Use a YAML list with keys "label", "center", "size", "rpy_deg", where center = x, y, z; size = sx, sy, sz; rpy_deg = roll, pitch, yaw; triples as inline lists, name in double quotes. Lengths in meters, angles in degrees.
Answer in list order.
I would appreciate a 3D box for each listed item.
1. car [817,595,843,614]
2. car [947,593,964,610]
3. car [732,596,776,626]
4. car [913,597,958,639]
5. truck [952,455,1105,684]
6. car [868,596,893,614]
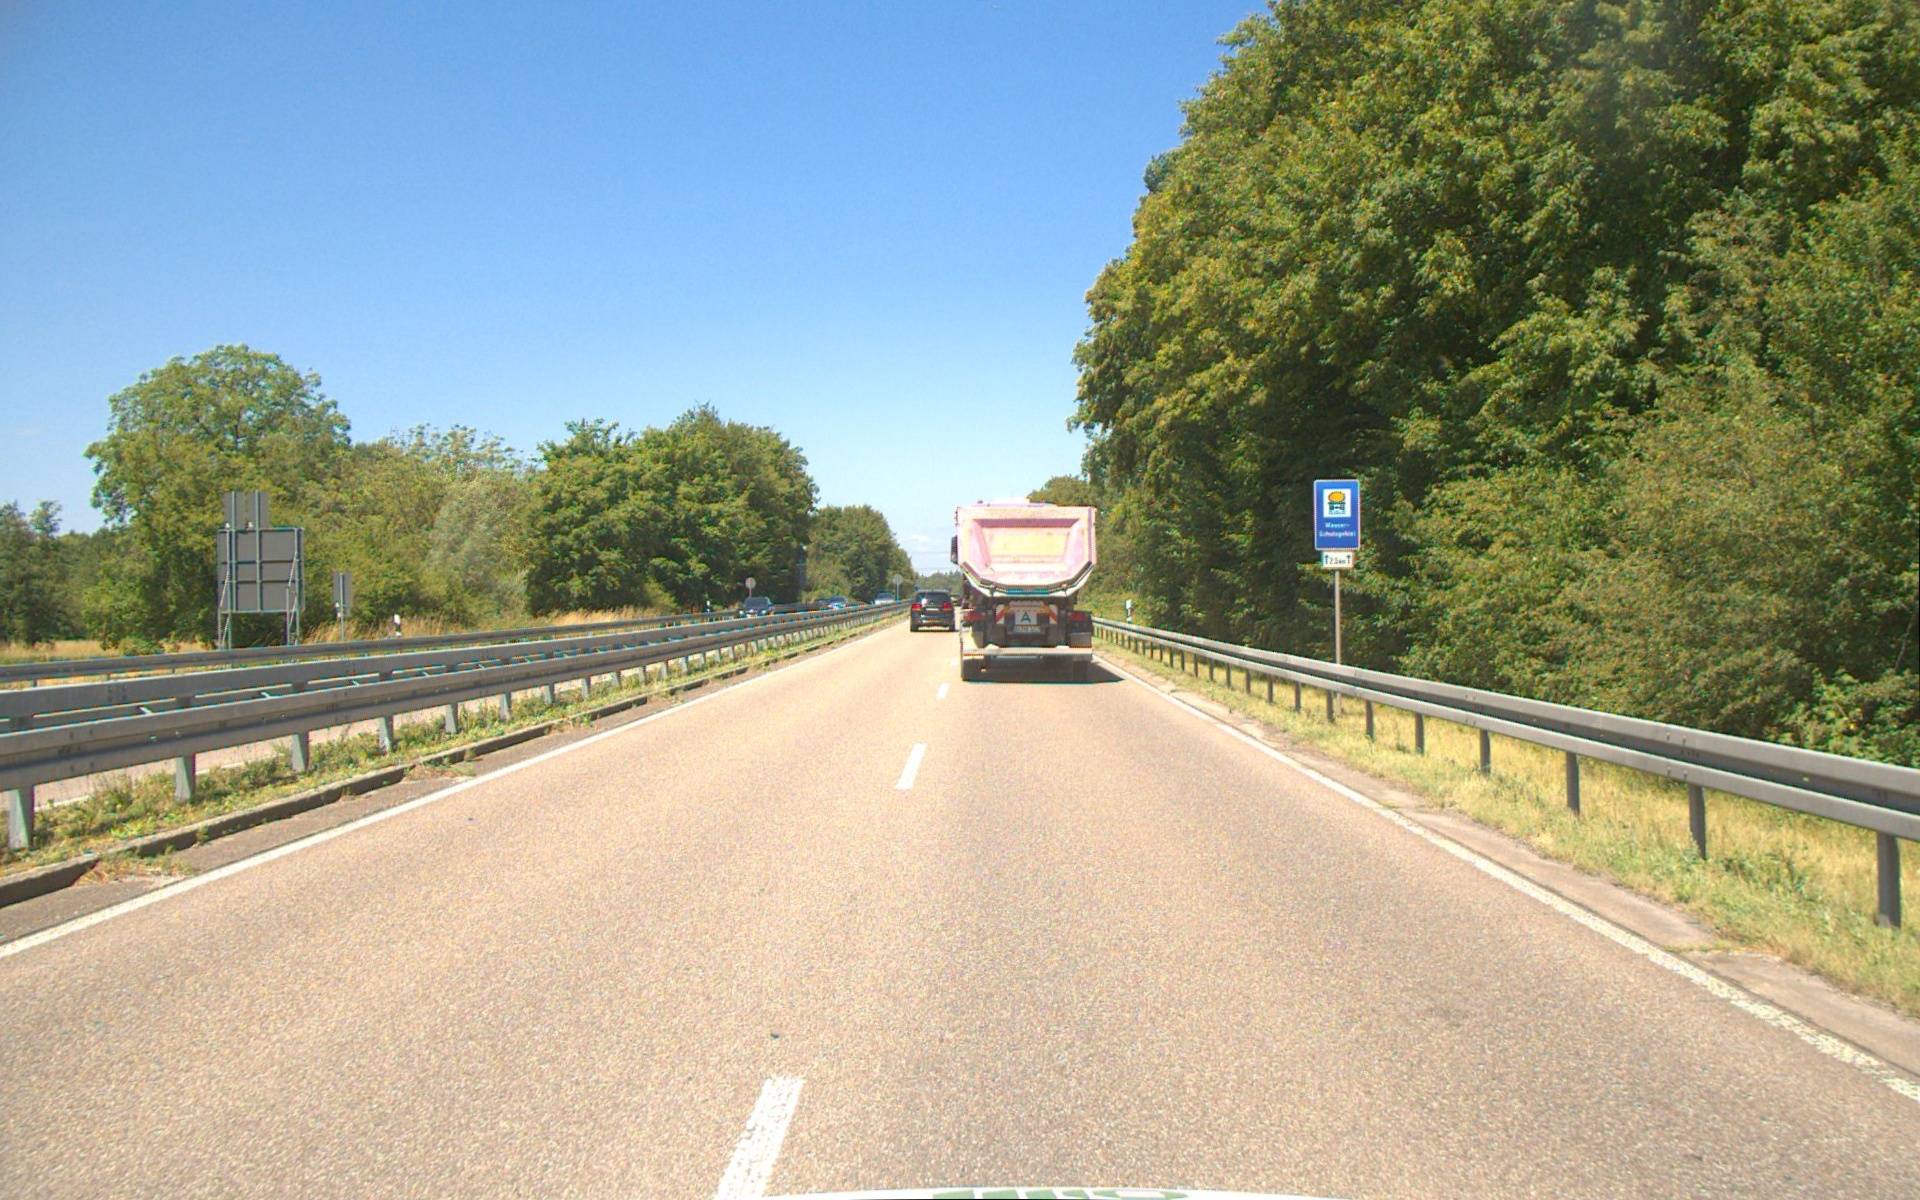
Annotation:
- label: "car"
  center: [-11.485, 0.372, 146.647]
  size: [1.775, 1.570, 4.929]
  rpy_deg: [-2, 0, 1]
- label: "car"
  center: [-0.503, 0.172, 182.016]
  size: [1.819, 1.748, 3.999]
  rpy_deg: [0, -2, 0]
- label: "car"
  center: [-11.770, 0.610, 94.740]
  size: [1.742, 1.648, 4.506]
  rpy_deg: [-2, 0, 2]
- label: "car"
  center: [-1.025, 0.781, 70.669]
  size: [1.819, 1.701, 3.999]
  rpy_deg: [0, -2, 0]
- label: "truck"
  center: [1.196, -0.547, 35.174]
  size: [2.664, 3.999, 12.369]
  rpy_deg: [0, 0, 0]
- label: "car"
  center: [-7.697, 0.509, 160.754]
  size: [1.952, 1.660, 4.554]
  rpy_deg: [-2, 0, 3]
